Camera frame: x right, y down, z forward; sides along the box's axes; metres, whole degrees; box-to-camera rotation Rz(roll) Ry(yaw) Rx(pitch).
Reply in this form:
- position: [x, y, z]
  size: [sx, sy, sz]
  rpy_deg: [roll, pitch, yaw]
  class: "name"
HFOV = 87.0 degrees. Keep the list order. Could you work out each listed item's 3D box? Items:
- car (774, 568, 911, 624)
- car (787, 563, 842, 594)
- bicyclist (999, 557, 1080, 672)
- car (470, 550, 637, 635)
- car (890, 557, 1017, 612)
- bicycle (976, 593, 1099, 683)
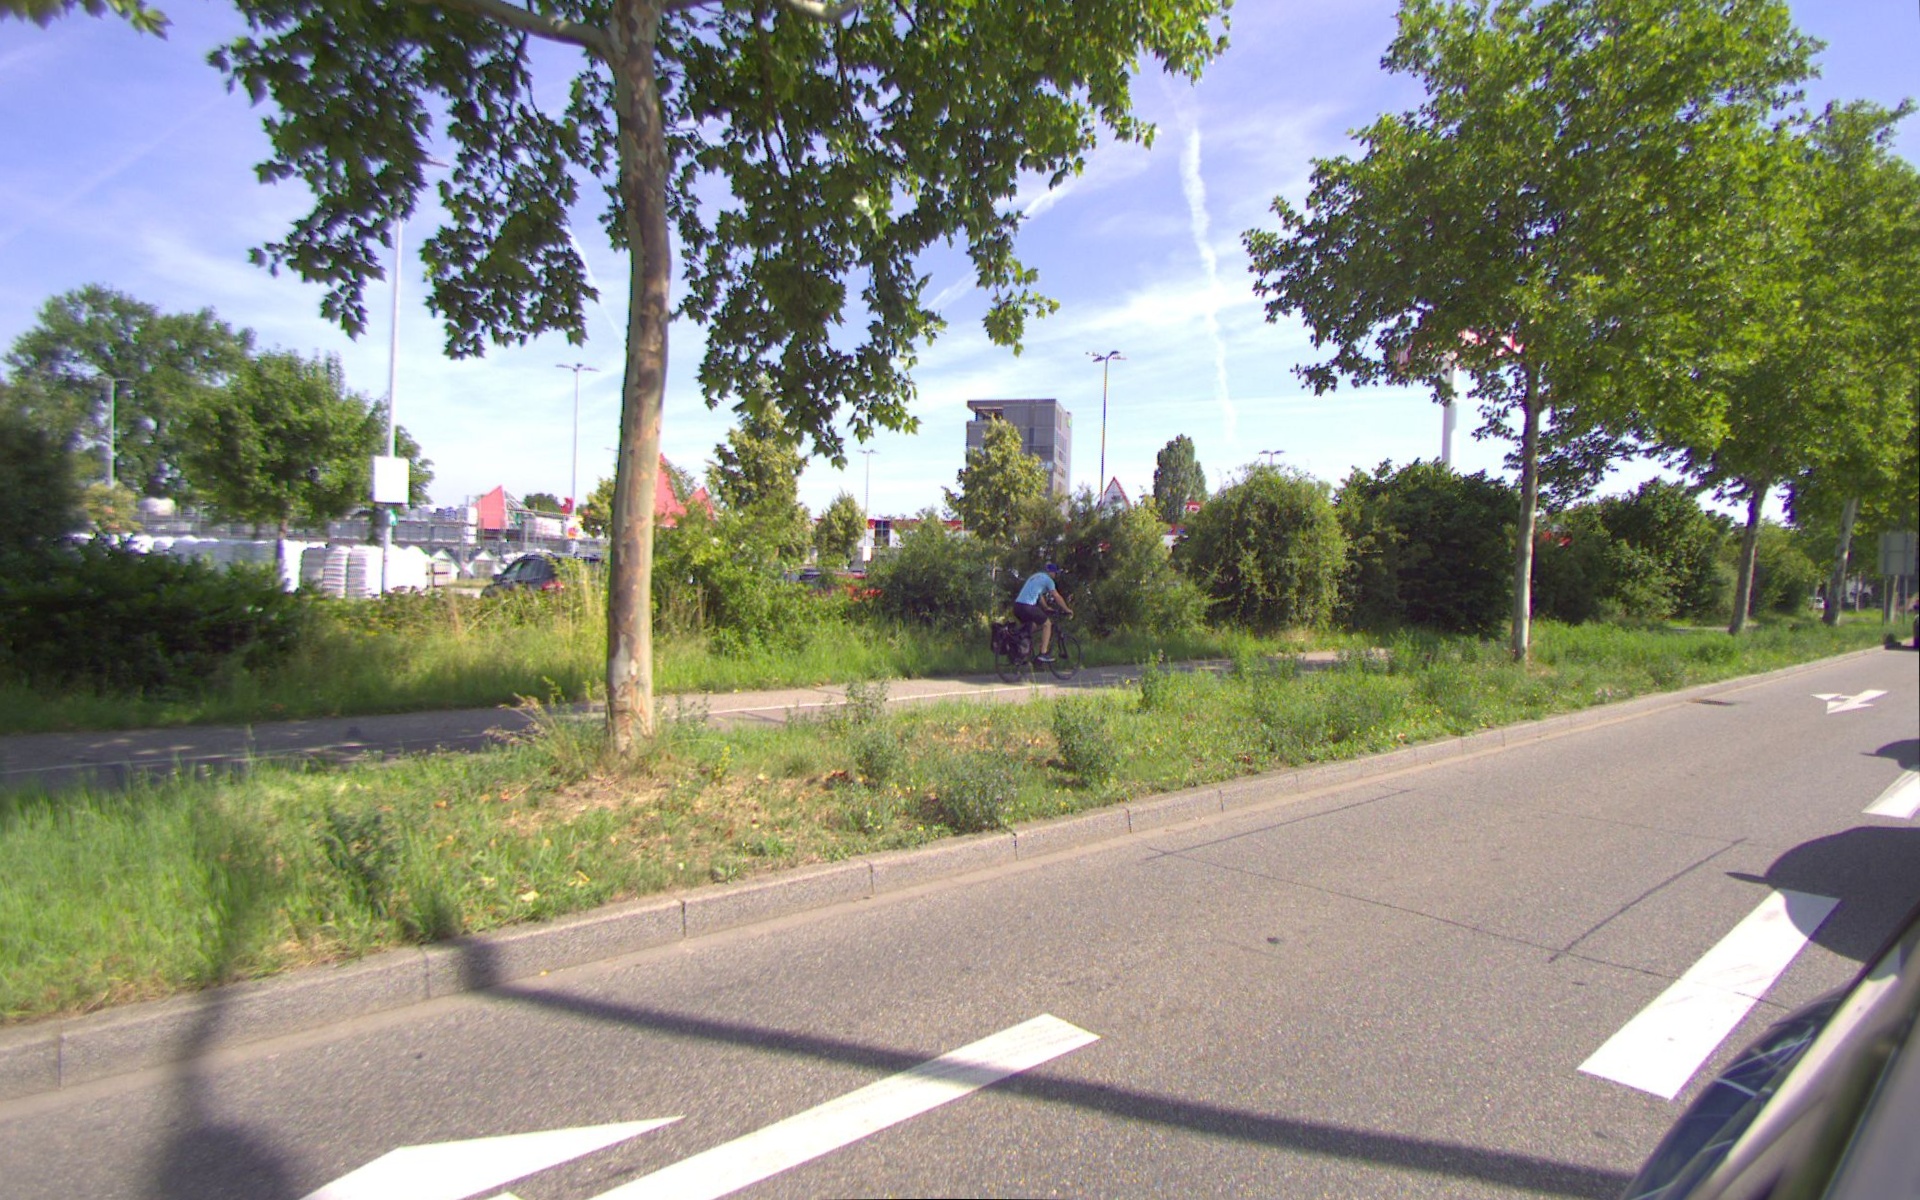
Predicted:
- position: [-3.157, -0.145, 26.890]
  size: [3.553, 1.316, 1.740]
  rpy_deg: [3, 2, 43]
  class: "car"
- position: [-7.989, -1.197, 55.946]
  size: [1.665, 1.593, 3.985]
  rpy_deg: [2, 2, 13]
  class: "car"
- position: [1.197, 0.199, 15.150]
  size: [0.984, 1.651, 0.686]
  rpy_deg: [0, 2, -41]
  class: "bicyclist"
- position: [-8.635, -0.212, 21.350]
  size: [3.850, 1.604, 1.821]
  rpy_deg: [3, 2, 43]
  class: "car"
- position: [-0.187, -0.523, 32.582]
  size: [3.801, 1.604, 1.844]
  rpy_deg: [2, 2, 11]
  class: "car"
- position: [1.182, 0.533, 15.148]
  size: [1.900, 1.252, 0.686]
  rpy_deg: [0, 2, -41]
  class: "bicycle"
